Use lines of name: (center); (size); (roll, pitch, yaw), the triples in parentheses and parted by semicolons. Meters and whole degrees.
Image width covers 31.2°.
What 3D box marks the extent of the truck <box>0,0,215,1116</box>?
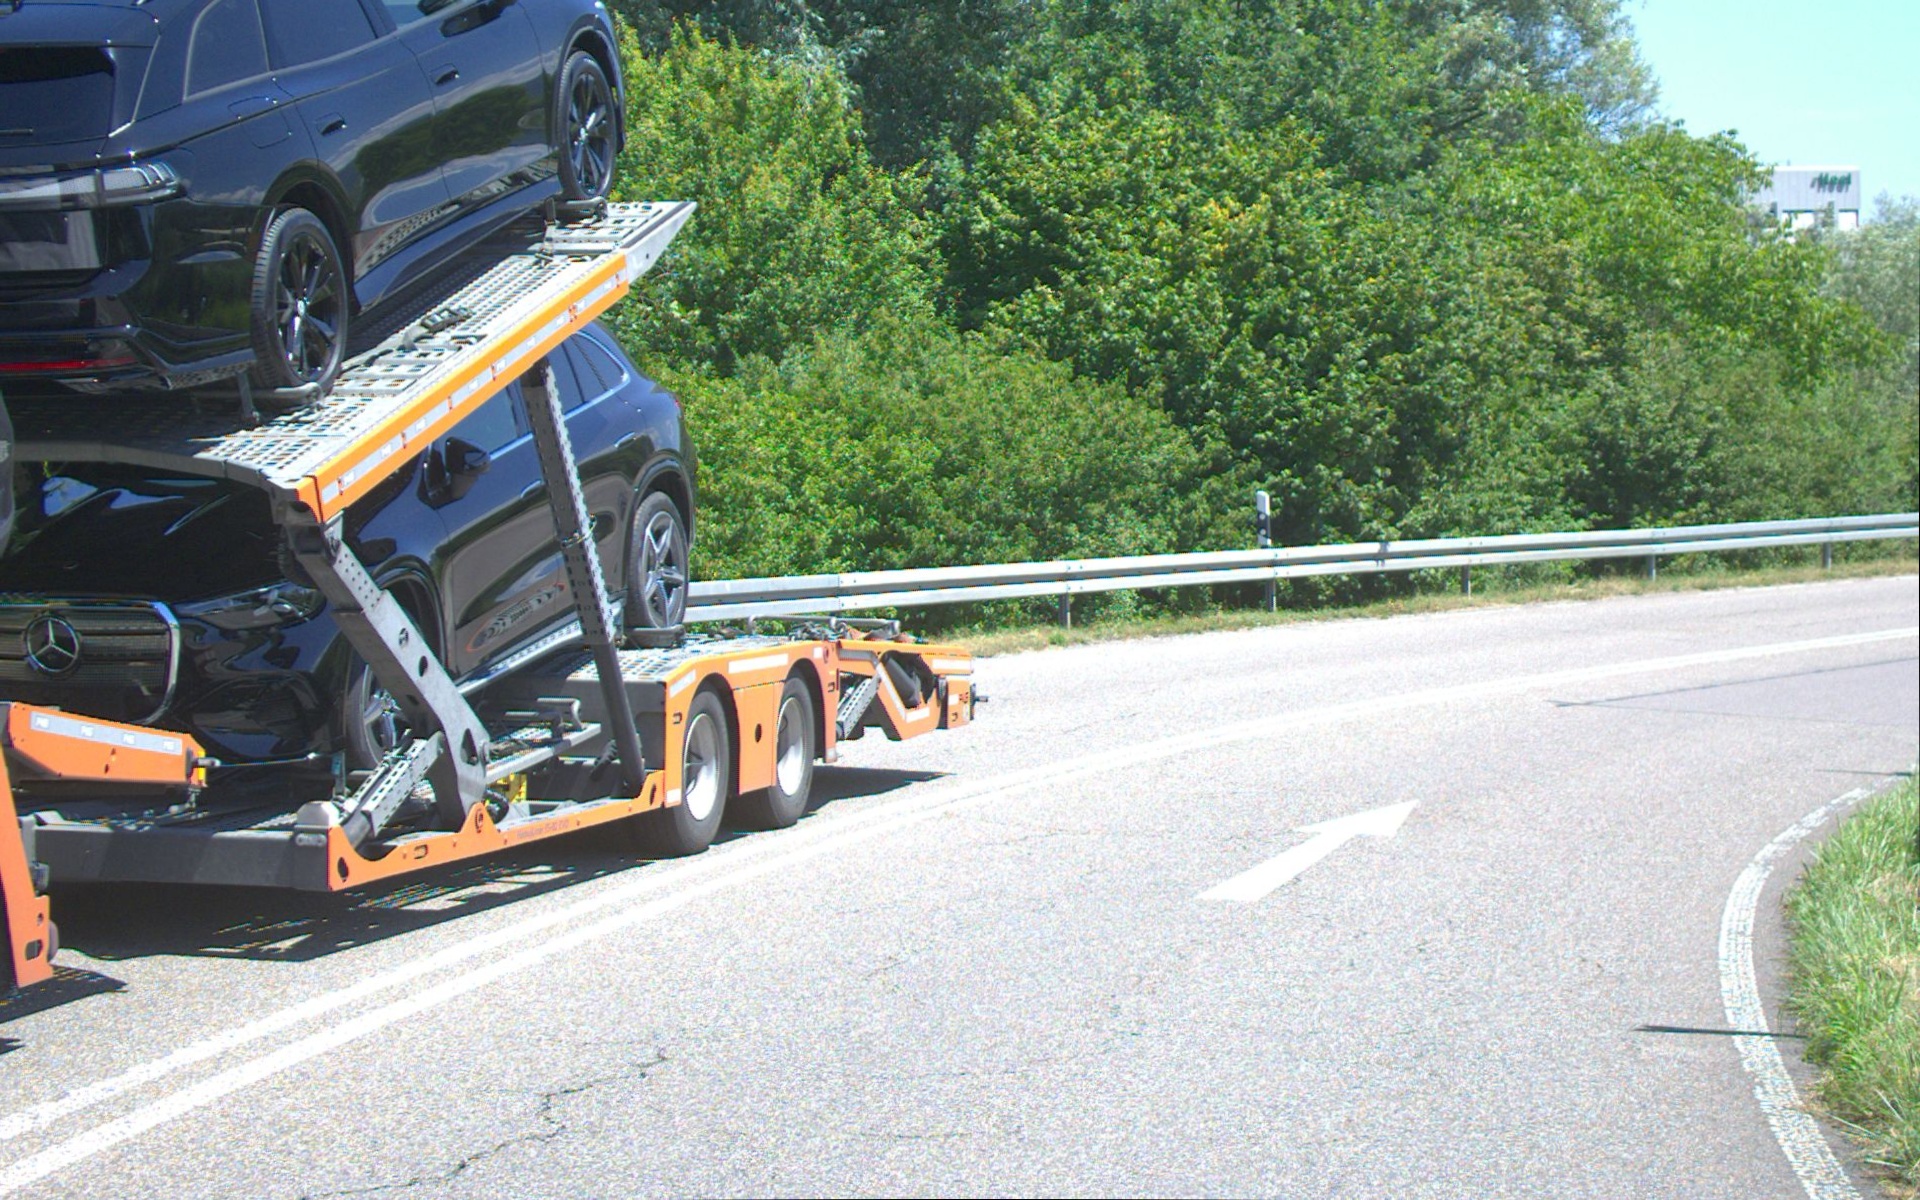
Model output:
truck: (-4.244, -0.587, 5.831); (2.791, 3.885, 8.777); (0, 2, 9)

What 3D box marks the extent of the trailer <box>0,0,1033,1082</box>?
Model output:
trailer: (-2.764, -0.796, 13.402); (2.795, 3.885, 13.977); (1, 2, 15)
